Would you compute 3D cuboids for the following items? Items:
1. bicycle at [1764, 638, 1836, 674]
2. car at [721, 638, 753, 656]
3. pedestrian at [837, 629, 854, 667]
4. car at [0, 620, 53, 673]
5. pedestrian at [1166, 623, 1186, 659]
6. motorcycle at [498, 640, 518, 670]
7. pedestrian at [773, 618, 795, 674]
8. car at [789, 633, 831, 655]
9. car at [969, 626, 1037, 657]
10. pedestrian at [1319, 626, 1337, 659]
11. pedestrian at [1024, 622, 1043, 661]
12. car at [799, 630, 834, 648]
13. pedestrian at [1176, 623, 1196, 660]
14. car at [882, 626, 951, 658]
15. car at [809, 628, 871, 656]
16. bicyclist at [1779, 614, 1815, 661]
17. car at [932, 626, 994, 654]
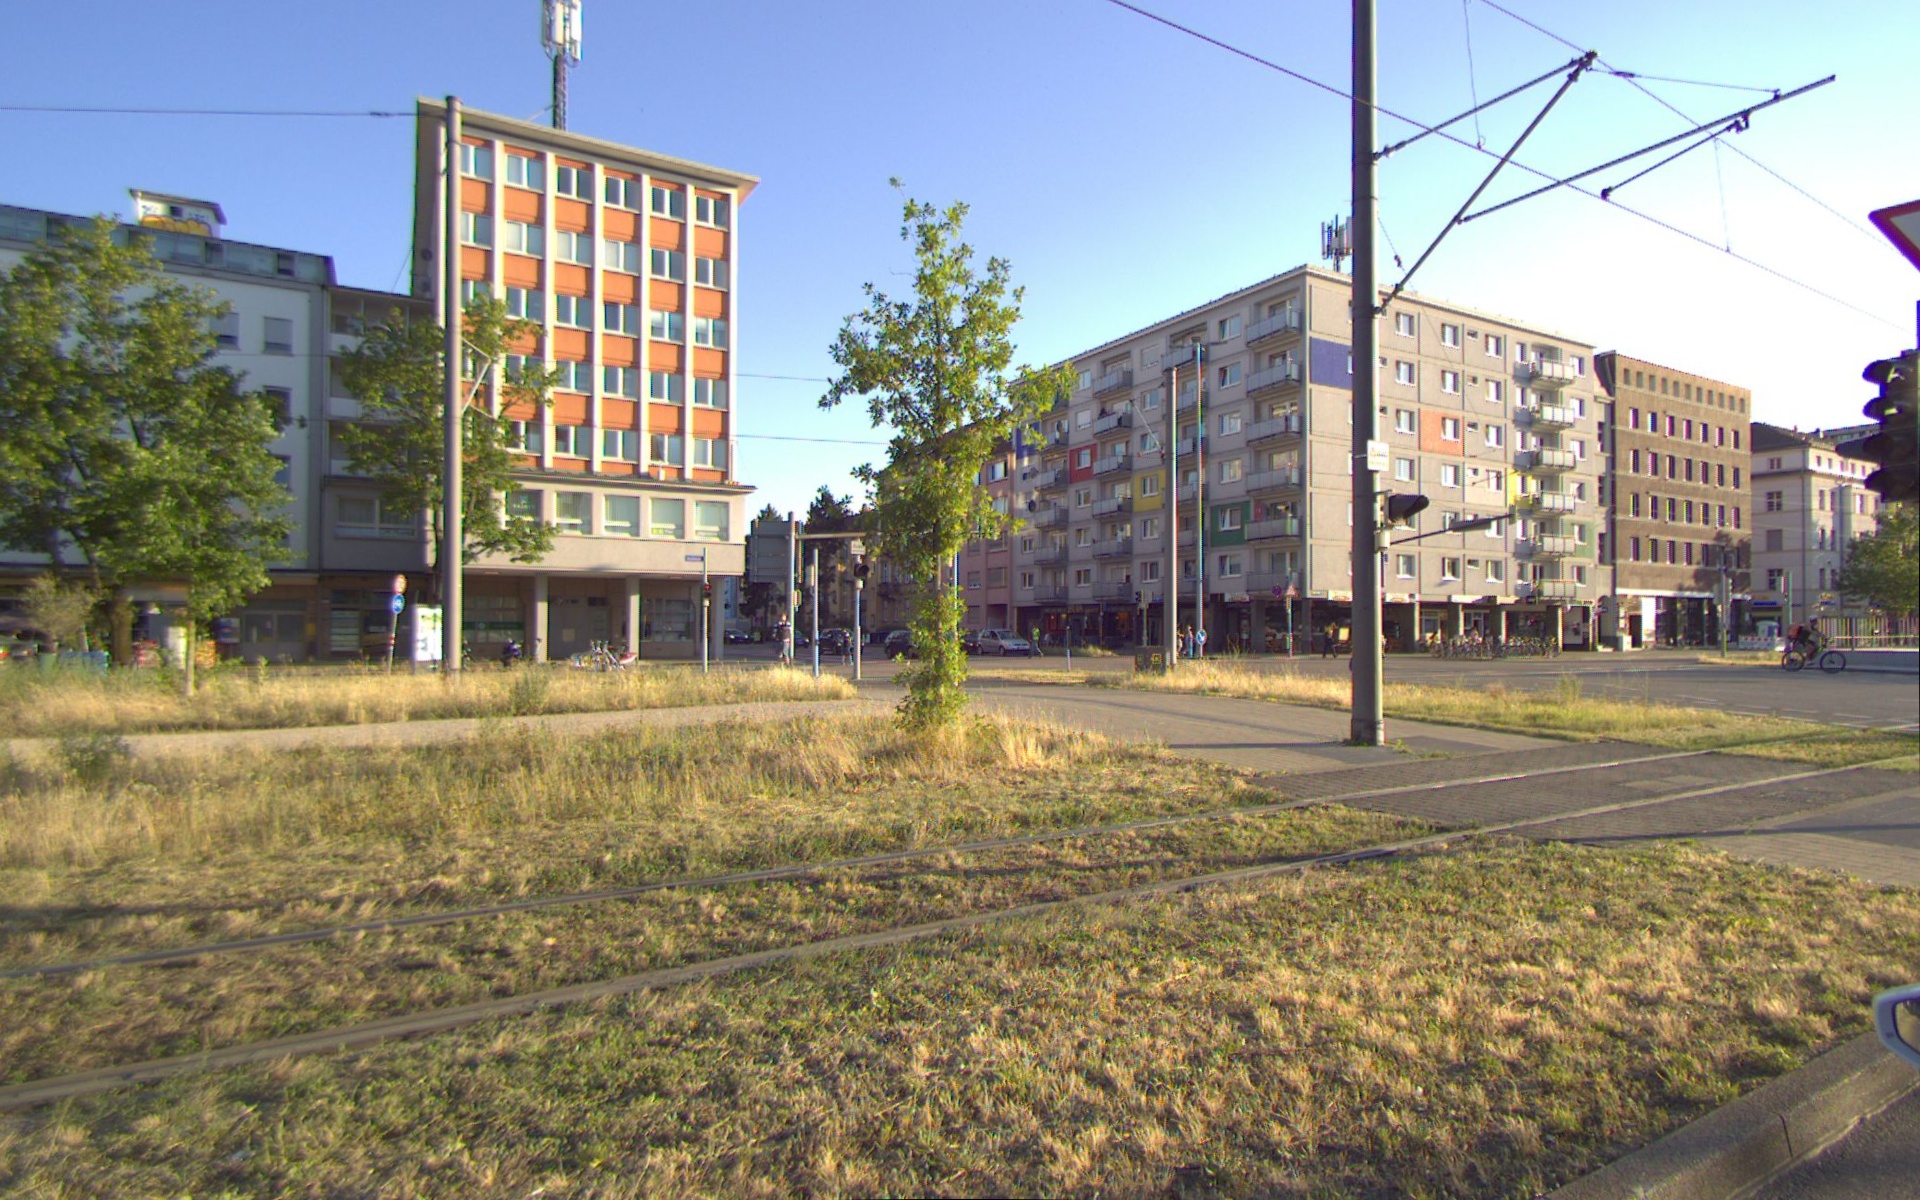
[{"bbox_3d":[26.586,1.764,31.803,1.708,0.983,0.700,2,2,40],"label":"bicycle"},{"bbox_3d":[-20.830,4.352,93.851,1.804,1.572,3.969,-1,-1,-30],"label":"car"},{"bbox_3d":[-5.133,2.145,45.110,0.608,1.651,0.512,-1,-1,-30],"label":"pedestrian"},{"bbox_3d":[-29.933,1.401,29.787,4.213,1.547,1.758,-1,-1,-8],"label":"car"},{"bbox_3d":[11.277,2.138,52.494,0.728,1.876,0.701,-1,-1,-30],"label":"pedestrian"},{"bbox_3d":[-17.254,2.086,38.293,0.525,1.082,1.442,-1,-1,-31],"label":"motorcycle"},{"bbox_3d":[-5.662,1.468,32.303,0.638,1.786,0.721,-1,-1,-9],"label":"pedestrian"},{"bbox_3d":[-11.374,3.313,76.118,1.804,1.572,3.969,-1,-1,-30],"label":"car"},{"bbox_3d":[2.357,2.251,55.480,1.786,1.606,3.839,0,-1,-35],"label":"car"},{"bbox_3d":[19.334,2.235,52.779,0.767,1.692,0.741,-1,-1,10],"label":"pedestrian"},{"bbox_3d":[3.650,2.041,49.720,0.673,1.872,0.630,-1,-1,-30],"label":"pedestrian"},{"bbox_3d":[-13.873,3.735,96.775,1.786,1.606,3.839,0,-1,-35],"label":"car"},{"bbox_3d":[11.617,2.102,51.633,0.812,1.872,0.599,-1,-1,-30],"label":"pedestrian"},{"bbox_3d":[-2.312,2.182,52.279,1.786,1.606,3.840,0,-2,-35],"label":"car"},{"bbox_3d":[-7.389,2.545,61.667,1.969,1.606,4.252,0,-1,-35],"label":"car"},{"bbox_3d":[26.495,1.175,31.810,0.843,1.462,0.660,1,2,39],"label":"bicyclist"},{"bbox_3d":[0.153,2.369,59.857,1.786,1.606,3.839,0,-1,-35],"label":"car"}]
